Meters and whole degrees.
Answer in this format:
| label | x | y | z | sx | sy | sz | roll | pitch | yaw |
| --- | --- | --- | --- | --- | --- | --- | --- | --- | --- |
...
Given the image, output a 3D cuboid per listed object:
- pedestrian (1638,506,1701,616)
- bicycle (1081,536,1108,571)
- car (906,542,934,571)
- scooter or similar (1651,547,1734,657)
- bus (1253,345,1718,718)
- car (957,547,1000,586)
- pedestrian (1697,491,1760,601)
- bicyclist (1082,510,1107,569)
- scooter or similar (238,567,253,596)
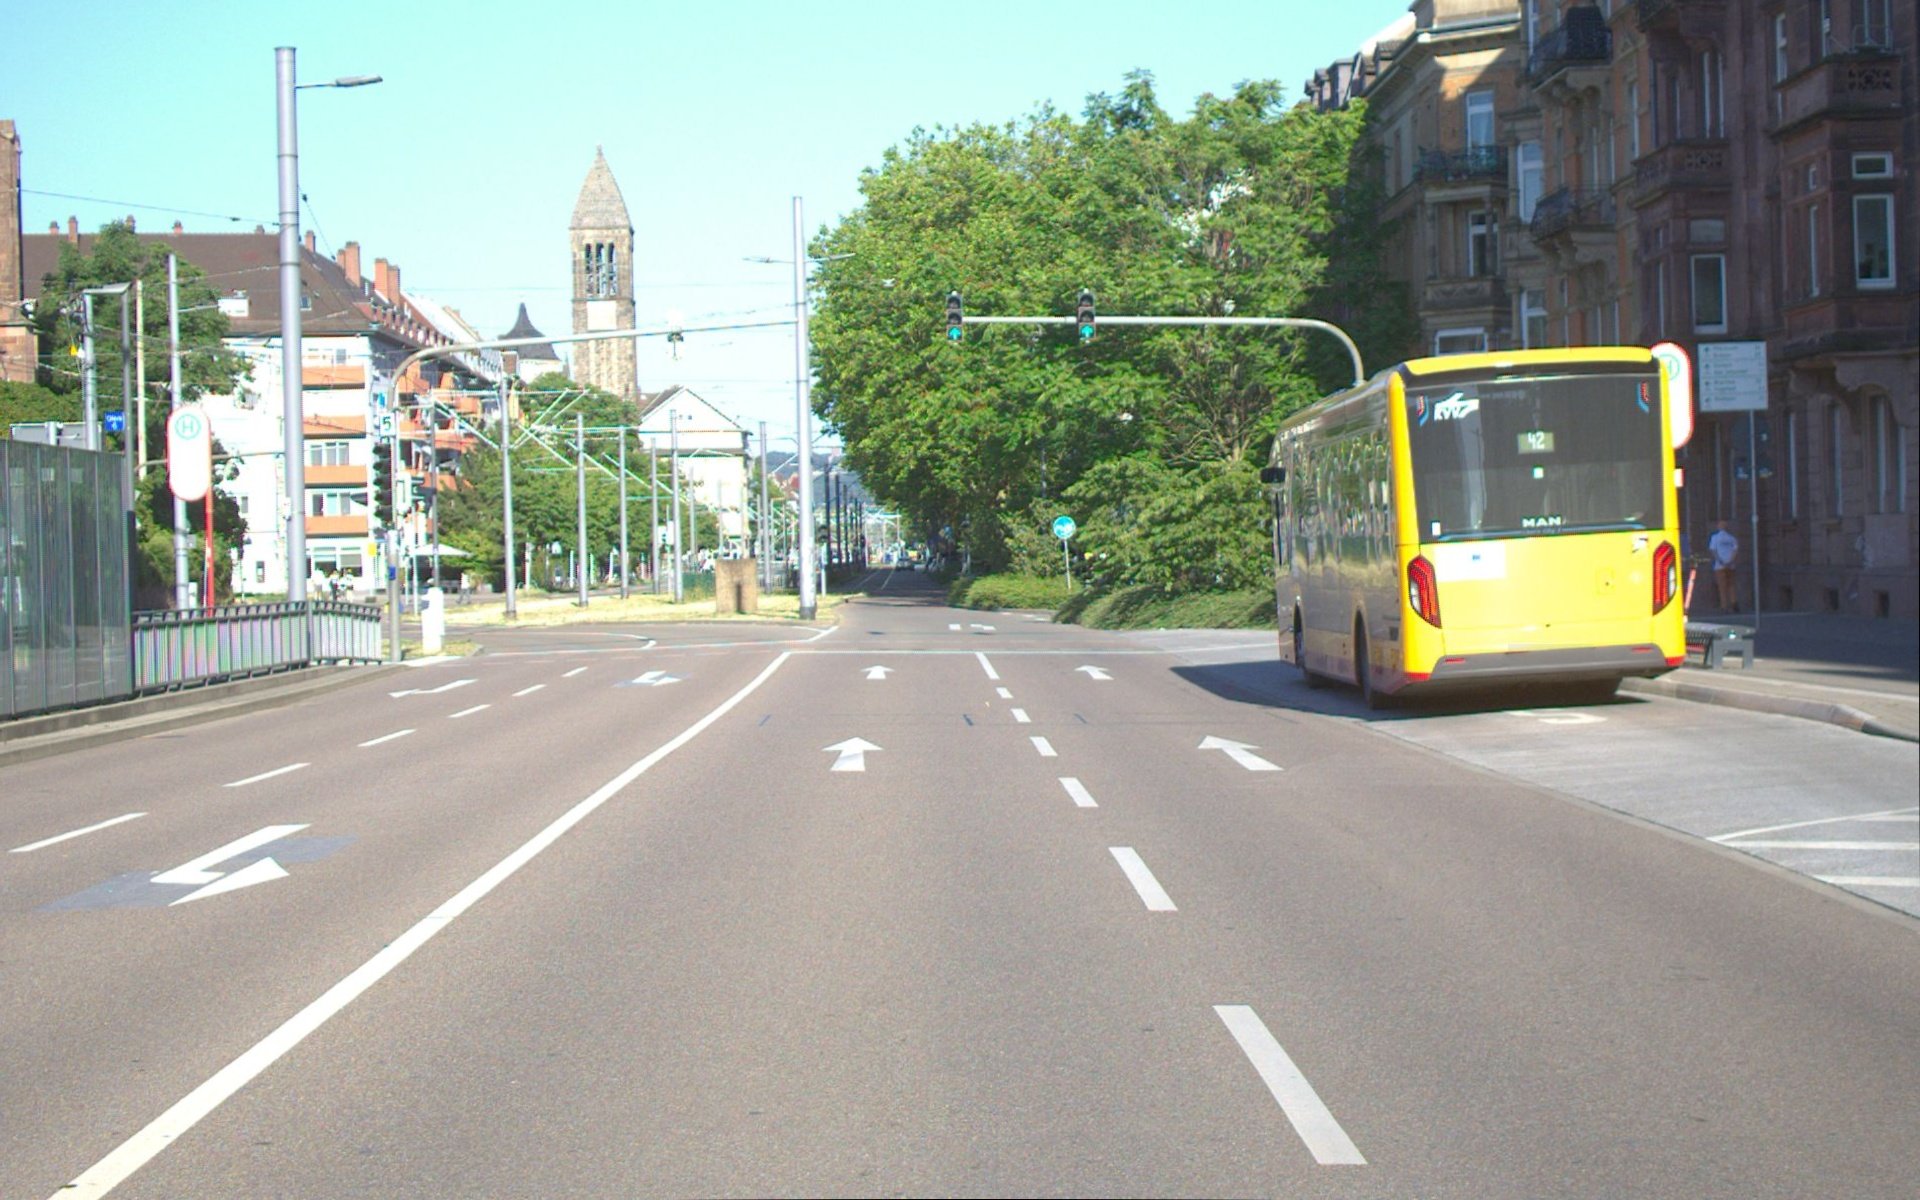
| label | x | y | z | sx | sy | sz | roll | pitch | yaw |
| --- | --- | --- | --- | --- | --- | --- | --- | --- | --- |
| pedestrian | 12.680 | -0.706 | 61.445 | 0.822 | 1.923 | 1.137 | -2 | 1 | -1 |
| bicycle | 4.232 | -1.455 | 108.336 | 0.641 | 1.044 | 2.360 | -3 | 0 | -1 |
| car | -2.942 | -3.197 | 252.145 | 1.993 | 2.100 | 4.000 | 0 | 0 | 0 |
| scooter or similar | 8.549 | 0.030 | 40.169 | 0.431 | 1.245 | 1.295 | -3 | 0 | -10 |
| bus | 5.169 | -0.706 | 36.570 | 2.715 | 3.170 | 12.542 | -3 | 1 | -1 |
| car | 0.751 | -1.392 | 142.583 | 1.643 | 1.506 | 4.183 | -3 | 1 | 0 |
| pedestrian | 13.763 | -0.968 | 61.586 | 0.822 | 1.923 | 1.137 | -2 | 1 | -1 |
| bicyclist | 4.232 | -1.906 | 108.179 | 0.641 | 1.808 | 1.052 | -3 | 0 | -1 |
| scooter or similar | -33.326 | -0.860 | 160.378 | 0.401 | 1.256 | 1.231 | -3 | 4 | 0 |
